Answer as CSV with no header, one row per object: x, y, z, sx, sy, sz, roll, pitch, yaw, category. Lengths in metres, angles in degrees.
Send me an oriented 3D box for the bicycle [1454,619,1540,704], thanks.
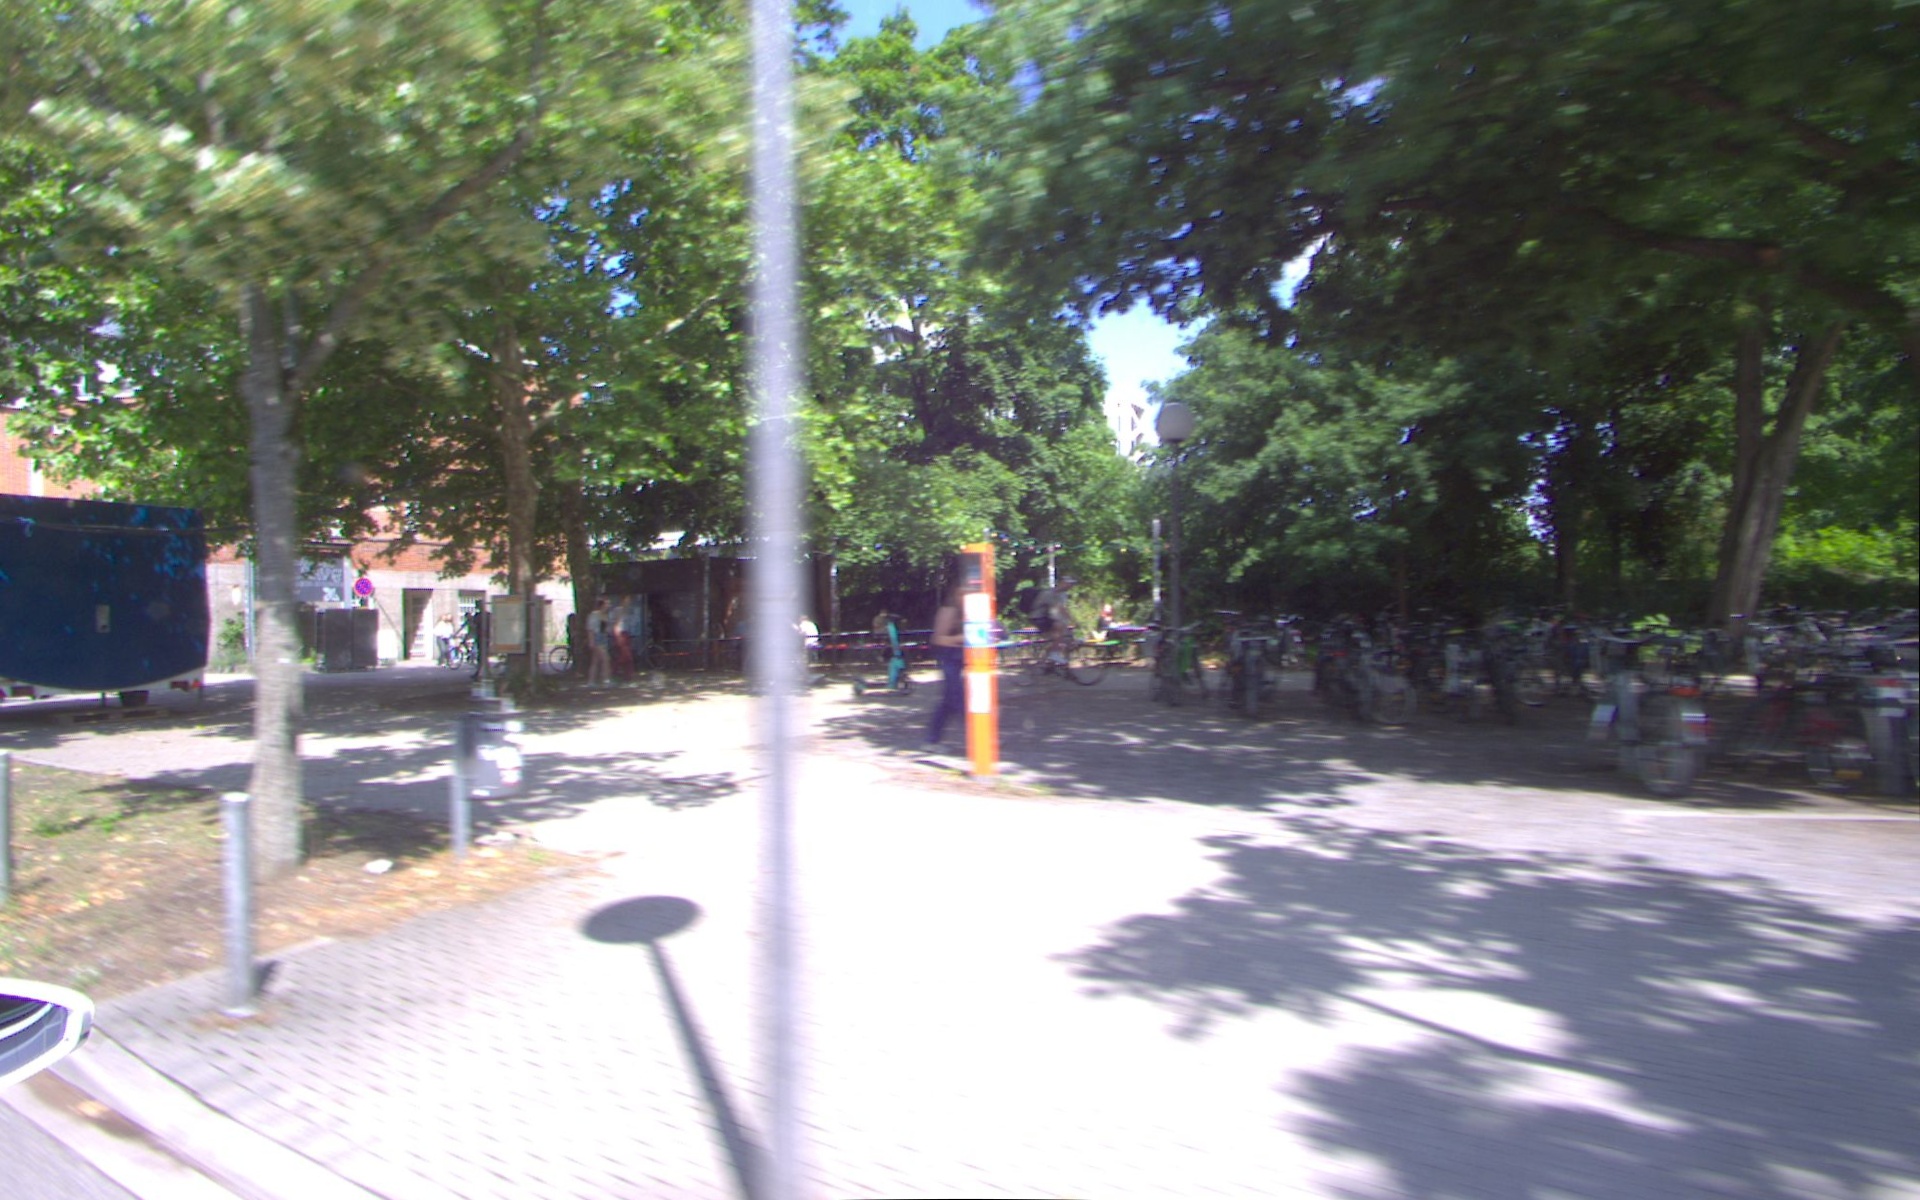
7.024,0.777,13.173,0.413,0.992,1.902,-1,0,10,bicycle

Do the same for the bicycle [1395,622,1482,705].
6.387,0.812,13.466,0.469,0.992,1.903,-1,0,7,bicycle

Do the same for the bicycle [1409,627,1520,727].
5.710,0.839,11.444,0.601,0.992,1.902,-1,0,10,bicycle

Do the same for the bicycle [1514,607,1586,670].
11.124,0.700,18.937,0.469,1.108,1.753,-1,0,6,bicycle

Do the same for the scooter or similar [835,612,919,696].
-1.287,0.822,15.368,1.276,1.234,0.423,-2,0,33,scooter or similar

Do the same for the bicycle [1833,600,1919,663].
17.001,0.557,18.459,0.469,1.108,1.611,-1,0,3,bicycle

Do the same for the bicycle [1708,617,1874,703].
10.694,0.740,12.984,0.526,0.992,1.903,-1,0,-2,bicycle

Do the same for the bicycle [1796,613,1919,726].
9.585,0.682,10.009,1.868,1.097,0.478,-1,1,12,bicycle

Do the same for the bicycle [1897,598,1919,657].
18.368,0.518,18.672,0.341,1.108,1.611,-1,0,3,bicycle

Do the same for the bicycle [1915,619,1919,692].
13.133,0.759,12.743,0.300,0.992,1.884,-1,0,5,bicycle

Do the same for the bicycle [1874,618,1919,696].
12.644,0.753,12.787,0.434,0.992,1.903,-1,0,8,bicycle

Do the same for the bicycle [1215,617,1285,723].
3.440,0.793,11.990,0.601,1.133,1.808,-1,0,10,bicycle

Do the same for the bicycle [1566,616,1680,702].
8.493,0.722,12.916,0.469,0.992,1.903,-1,0,9,bicycle

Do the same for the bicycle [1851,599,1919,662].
17.347,0.549,18.450,0.469,1.108,1.611,-1,0,3,bicycle

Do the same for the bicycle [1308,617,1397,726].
4.546,0.789,11.711,0.601,1.133,1.902,-1,0,10,bicycle

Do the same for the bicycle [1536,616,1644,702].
8.136,0.731,13.019,0.469,0.992,1.903,-1,0,9,bicycle

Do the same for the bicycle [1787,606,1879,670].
15.969,0.669,18.355,0.341,1.108,1.611,-1,0,3,bicycle

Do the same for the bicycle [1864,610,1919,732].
9.558,0.635,9.196,1.868,1.097,0.478,-1,1,12,bicycle

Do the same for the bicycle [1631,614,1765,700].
9.474,0.701,12.948,0.601,0.992,1.902,-1,0,10,bicycle

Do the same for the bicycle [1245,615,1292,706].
4.337,0.814,14.132,0.469,1.158,1.902,-1,0,13,bicycle

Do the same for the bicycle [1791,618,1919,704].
11.686,0.745,12.879,0.469,0.992,1.903,-1,0,2,bicycle

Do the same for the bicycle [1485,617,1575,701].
7.499,0.747,13.258,0.413,0.992,1.902,-1,0,10,bicycle

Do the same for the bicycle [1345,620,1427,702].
5.765,0.790,13.638,0.413,0.992,1.903,-1,0,4,bicycle

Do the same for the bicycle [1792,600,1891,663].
16.330,0.564,18.590,0.469,1.108,1.611,-1,0,3,bicycle

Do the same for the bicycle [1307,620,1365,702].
5.136,0.802,13.752,0.469,0.992,1.902,-1,0,13,bicycle

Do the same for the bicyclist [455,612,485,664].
-15.604,1.204,31.924,0.609,1.628,0.658,0,0,4,bicyclist

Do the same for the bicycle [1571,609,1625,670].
12.152,0.731,19.111,0.341,1.108,1.609,-1,0,13,bicycle

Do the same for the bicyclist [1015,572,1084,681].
1.479,0.434,16.519,1.058,1.753,0.531,-1,2,12,bicyclist

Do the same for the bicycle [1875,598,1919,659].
18.022,0.525,18.686,0.469,1.108,1.611,-1,0,3,bicycle

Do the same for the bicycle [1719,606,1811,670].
14.945,0.682,18.643,0.469,1.108,1.611,-1,0,3,bicycle

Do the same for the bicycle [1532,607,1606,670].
11.465,0.693,18.905,0.469,1.108,1.753,-1,0,6,bicycle

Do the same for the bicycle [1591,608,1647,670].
12.498,0.725,19.033,0.341,1.108,1.609,-1,0,13,bicycle

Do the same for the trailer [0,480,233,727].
-14.028,0.084,15.140,6.166,3.092,2.686,-1,1,31,trailer

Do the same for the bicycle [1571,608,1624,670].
12.154,0.730,19.125,0.341,1.108,1.609,-1,0,13,bicycle

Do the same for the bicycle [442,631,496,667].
-15.606,1.552,31.884,0.609,1.094,2.027,0,-1,4,bicycle

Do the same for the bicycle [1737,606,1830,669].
15.318,0.672,18.679,0.469,1.108,1.611,-1,0,3,bicycle
